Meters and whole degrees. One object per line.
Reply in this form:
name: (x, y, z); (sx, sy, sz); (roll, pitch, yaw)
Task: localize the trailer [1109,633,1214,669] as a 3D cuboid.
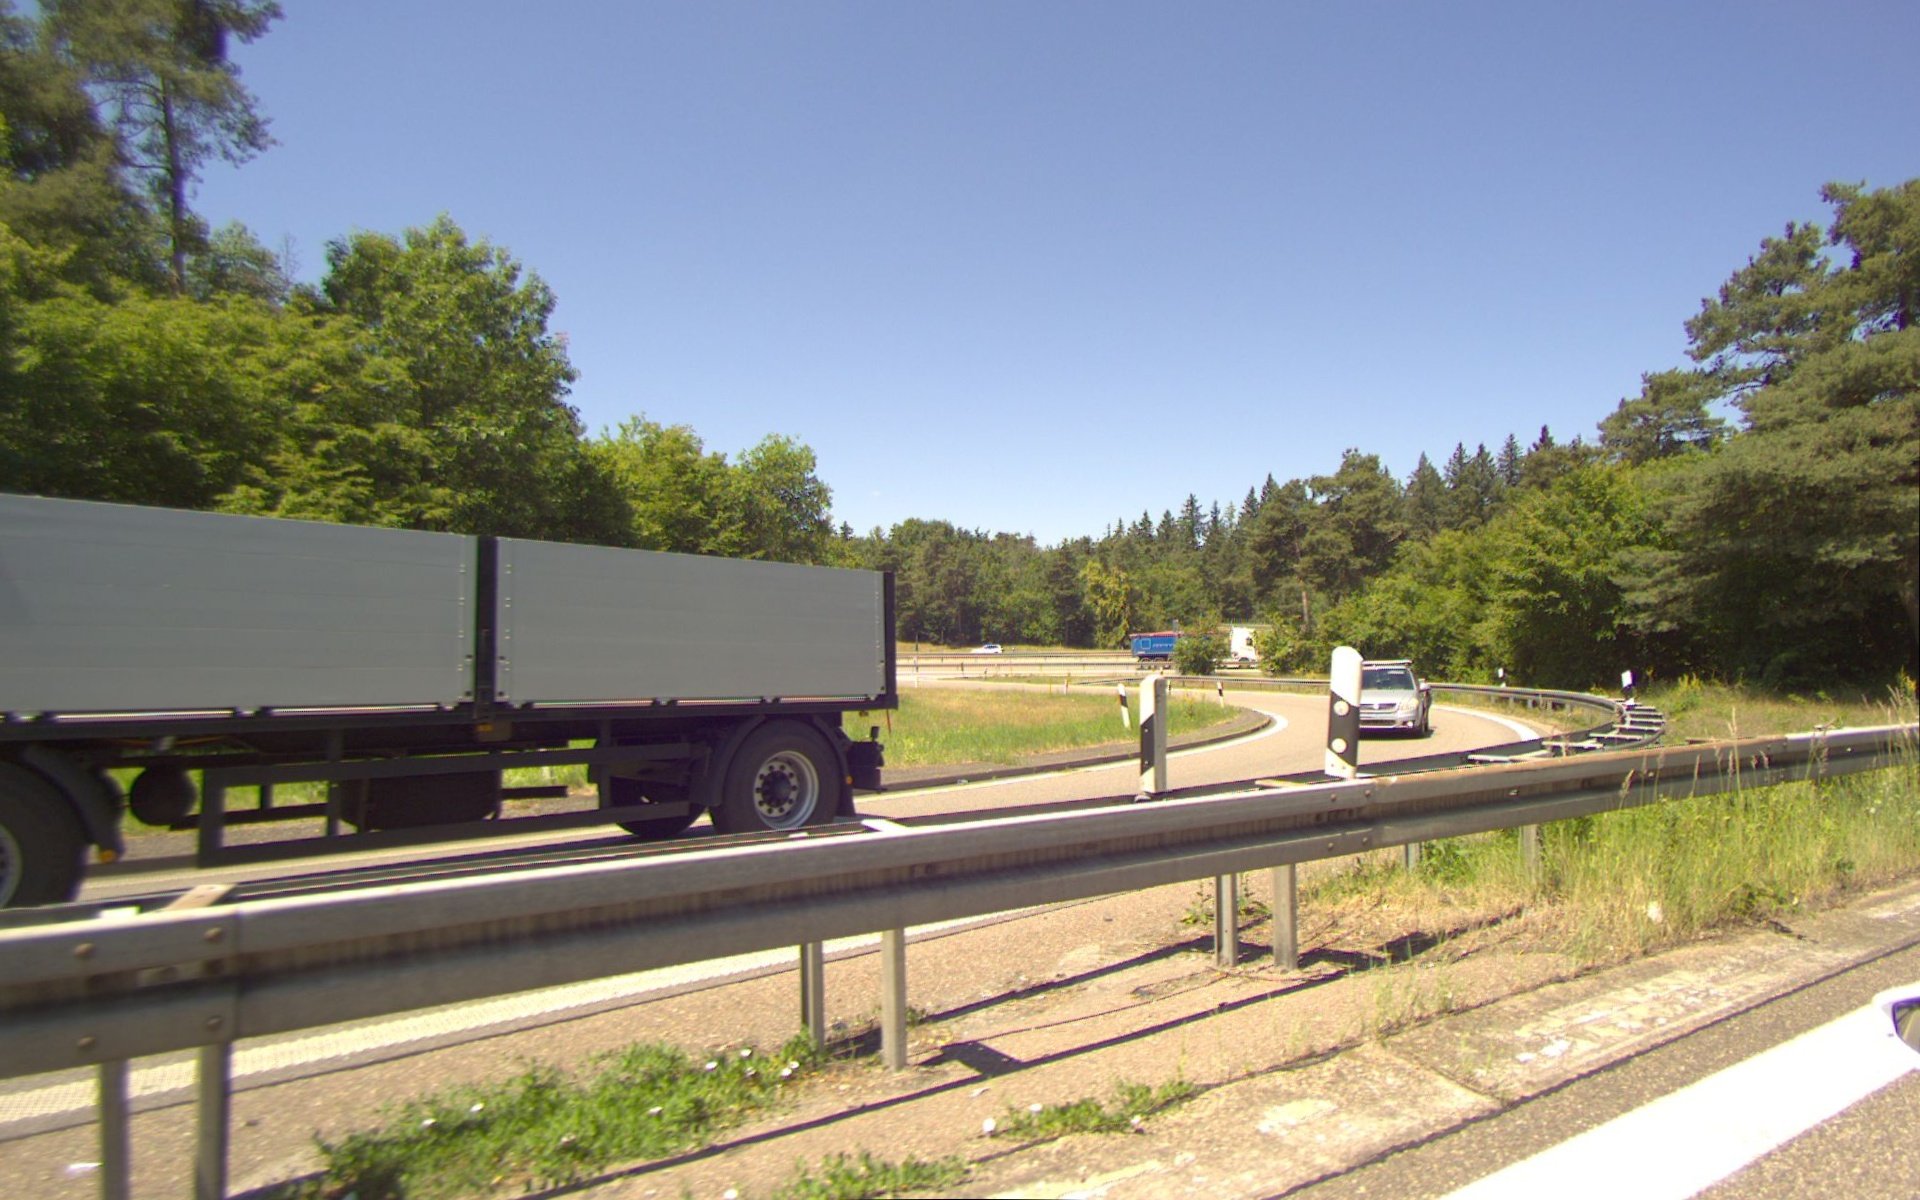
trailer: (19.018, 4.882, 95.419); (9.644, 3.345, 2.268); (-1, -3, 8)

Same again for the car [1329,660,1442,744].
car: (9.707, 2.196, 22.692); (1.963, 1.661, 5.267); (-2, -4, 27)

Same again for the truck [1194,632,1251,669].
truck: (24.676, 4.788, 94.644); (4.936, 3.407, 2.451); (-1, -3, 8)
